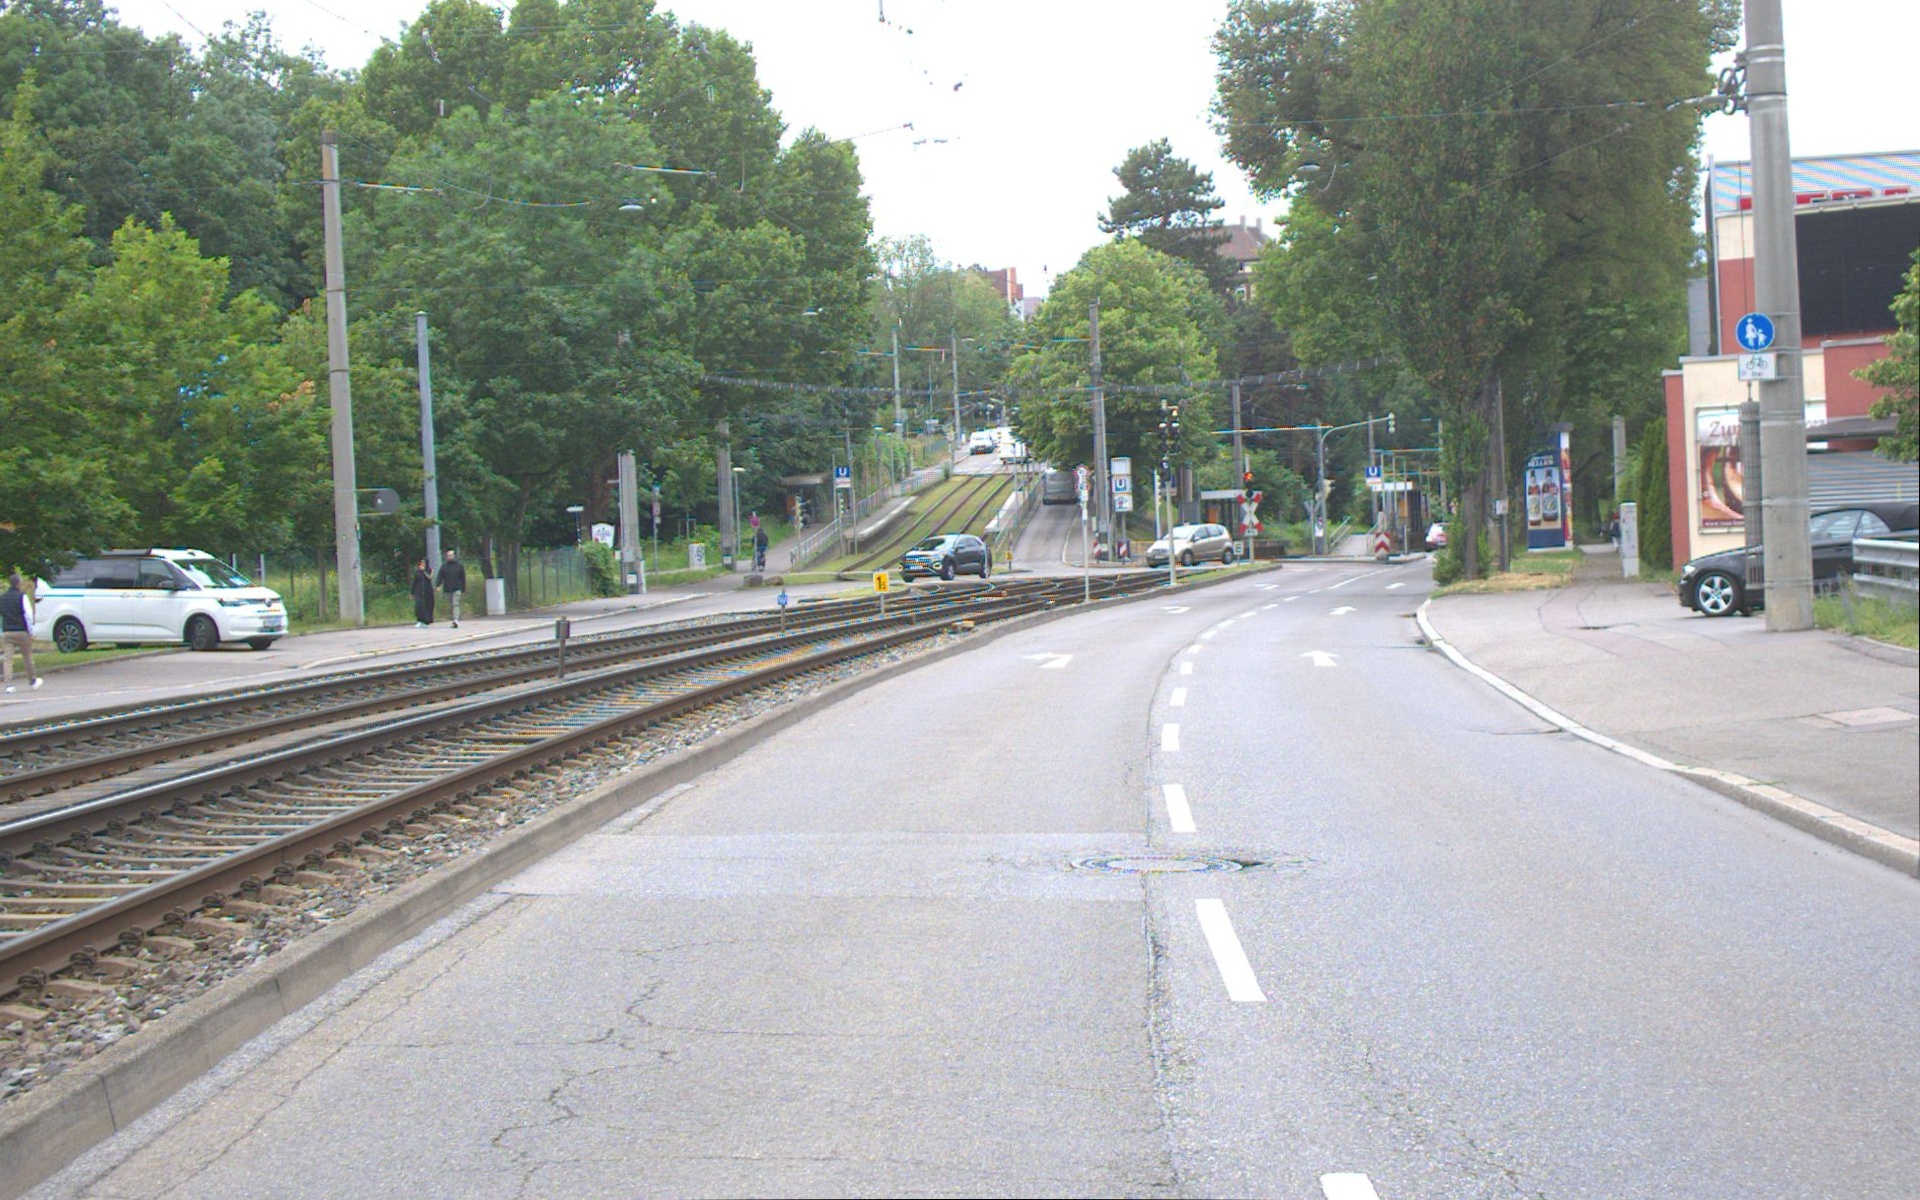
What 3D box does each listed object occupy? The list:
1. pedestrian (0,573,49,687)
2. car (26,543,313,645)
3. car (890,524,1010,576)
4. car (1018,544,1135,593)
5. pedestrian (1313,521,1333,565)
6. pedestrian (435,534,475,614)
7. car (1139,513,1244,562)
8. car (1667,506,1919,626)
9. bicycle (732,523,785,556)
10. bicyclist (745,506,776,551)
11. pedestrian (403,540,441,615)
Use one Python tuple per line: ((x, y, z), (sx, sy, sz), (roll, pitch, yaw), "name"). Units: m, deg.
((-13.946, 0.440, 50.851), (0.718, 1.650, 1.043), (0, 1, -3), "pedestrian")
((-15.157, -0.114, 65.900), (5.062, 1.881, 2.164), (-1, 0, 24), "car")
((-0.316, -1.723, 117.203), (1.690, 1.527, 4.247), (-5, -1, 38), "car")
((3.843, -1.042, 112.719), (1.996, 1.510, 4.494), (-1, 1, 28), "car")
((15.516, -2.446, 147.004), (0.769, 1.846, 0.910), (-2, 0, 7), "pedestrian")
((-11.580, -0.605, 78.800), (0.676, 1.807, 0.855), (0, 1, 7), "pedestrian")
((8.874, -2.408, 131.774), (1.894, 1.526, 4.248), (-5, 1, 37), "car")
((11.700, -0.471, 45.414), (4.227, 1.438, 1.760), (-2, 1, 33), "car")
((-8.681, -2.596, 147.767), (0.824, 1.339, 2.996), (-3, 1, -33), "bicycle")
((-8.549, -3.064, 147.536), (0.821, 1.843, 1.051), (-3, 1, -34), "bicyclist")
((-12.340, -0.520, 78.876), (0.628, 1.707, 0.855), (0, 1, 7), "pedestrian")
